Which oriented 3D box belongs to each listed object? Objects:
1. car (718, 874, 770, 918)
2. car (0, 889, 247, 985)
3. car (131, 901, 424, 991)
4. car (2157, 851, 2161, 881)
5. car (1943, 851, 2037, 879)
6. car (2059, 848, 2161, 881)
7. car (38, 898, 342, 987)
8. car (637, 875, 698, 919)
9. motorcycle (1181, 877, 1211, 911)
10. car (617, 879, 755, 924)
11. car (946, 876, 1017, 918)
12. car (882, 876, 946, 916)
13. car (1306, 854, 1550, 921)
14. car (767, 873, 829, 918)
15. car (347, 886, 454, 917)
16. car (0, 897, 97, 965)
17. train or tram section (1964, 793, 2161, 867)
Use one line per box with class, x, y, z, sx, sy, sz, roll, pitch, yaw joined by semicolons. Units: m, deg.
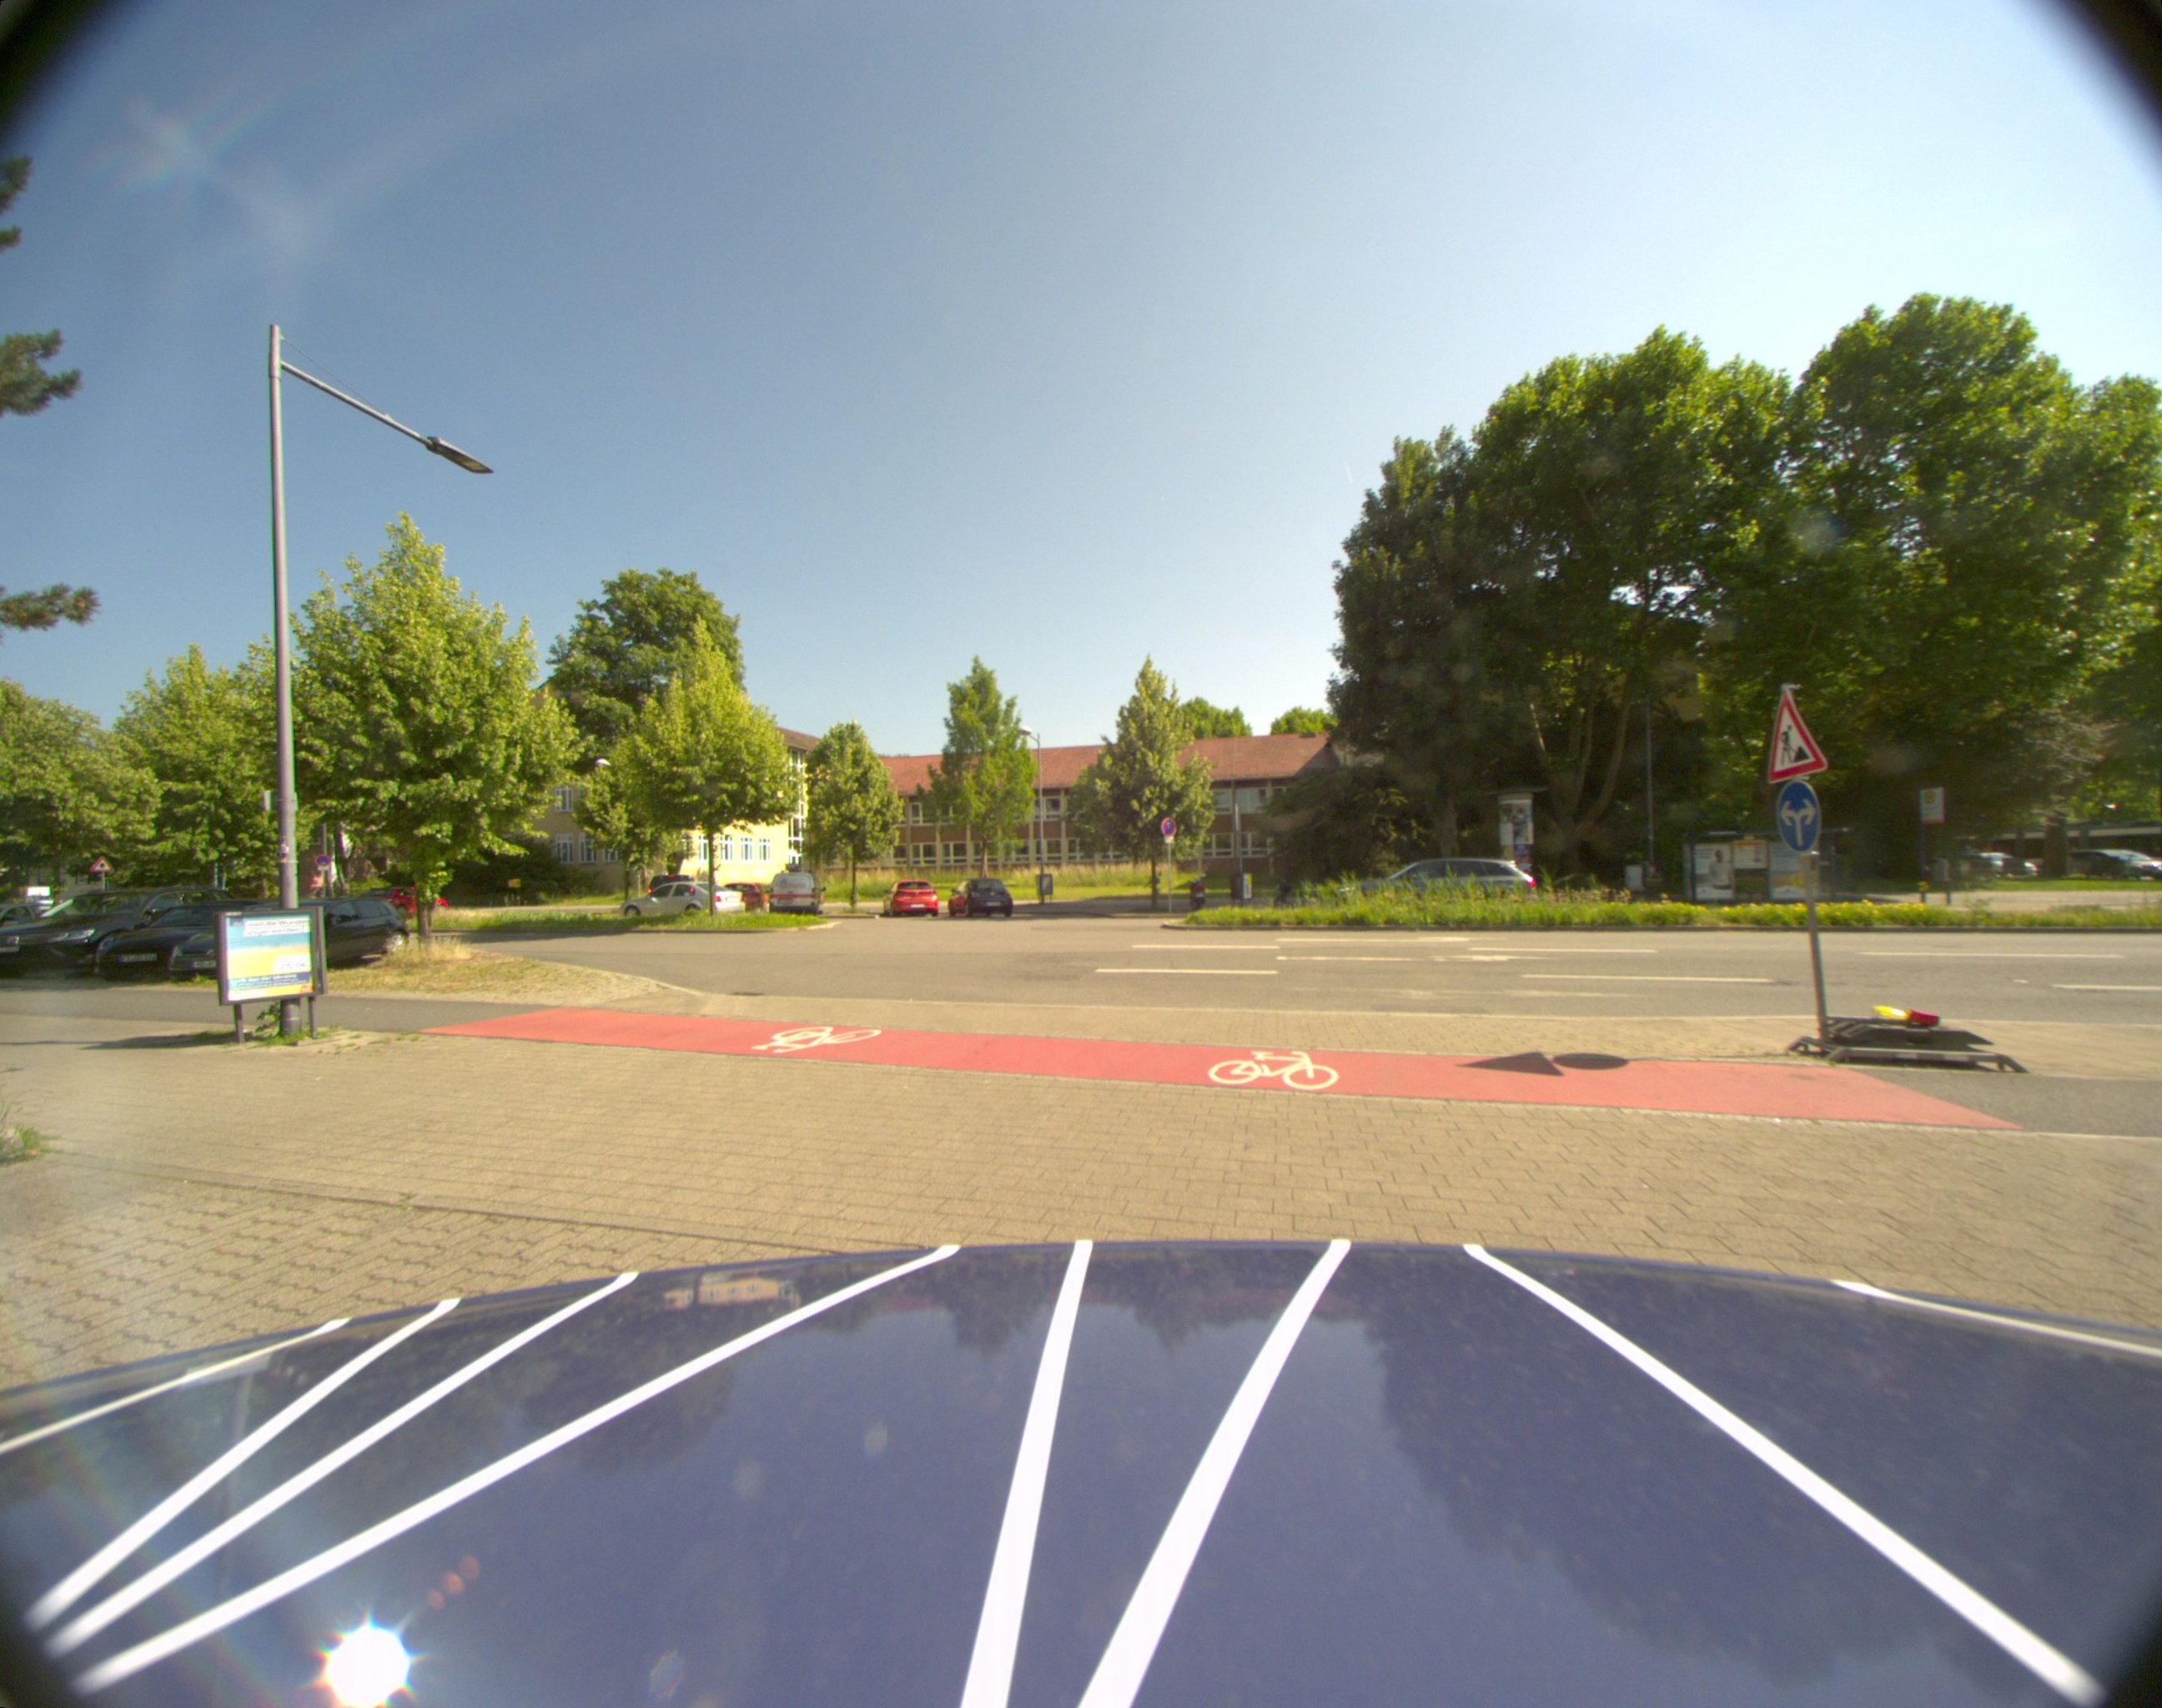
car;-14.050;1.740;31.734;1.884;1.711;4.219;1;-3;-24
car;-20.680;1.651;16.309;1.706;1.709;4.398;-1;-2;-17
car;-15.479;1.686;15.054;1.882;1.408;4.223;-1;-2;-11
car;53.333;0.494;35.101;1.866;1.503;4.005;-1;-2;9
car;57.525;0.729;48.210;1.865;1.679;4.007;-1;-2;16
car;55.677;0.592;40.778;1.865;1.679;4.007;-1;-2;16
car;-18.130;1.720;15.844;1.882;1.472;4.223;-1;-2;-11
car;-17.254;1.773;31.909;1.884;1.711;4.219;1;-3;-24
motorcycle;4.025;1.379;26.739;0.557;1.107;1.758;-1;-1;-8
car;-13.781;1.659;26.574;4.152;1.475;1.742;-1;-1;14
car;-3.892;1.618;29.159;1.743;1.450;4.220;-1;-2;-21
car;-6.616;1.611;29.856;1.883;1.450;4.220;0;-2;-21
car;9.027;0.940;20.355;5.648;1.601;2.003;-2;-3;14
car;-11.486;1.659;31.119;1.882;1.711;4.222;0;-2;-14
car;-32.559;2.258;36.485;1.880;1.382;3.727;0;-2;-3
car;-26.039;1.837;17.987;1.707;1.472;4.217;-1;-1;-27
train or tram section;67.494;-1.424;50.792;2.324;4.463;15.946;-1;-1;15
